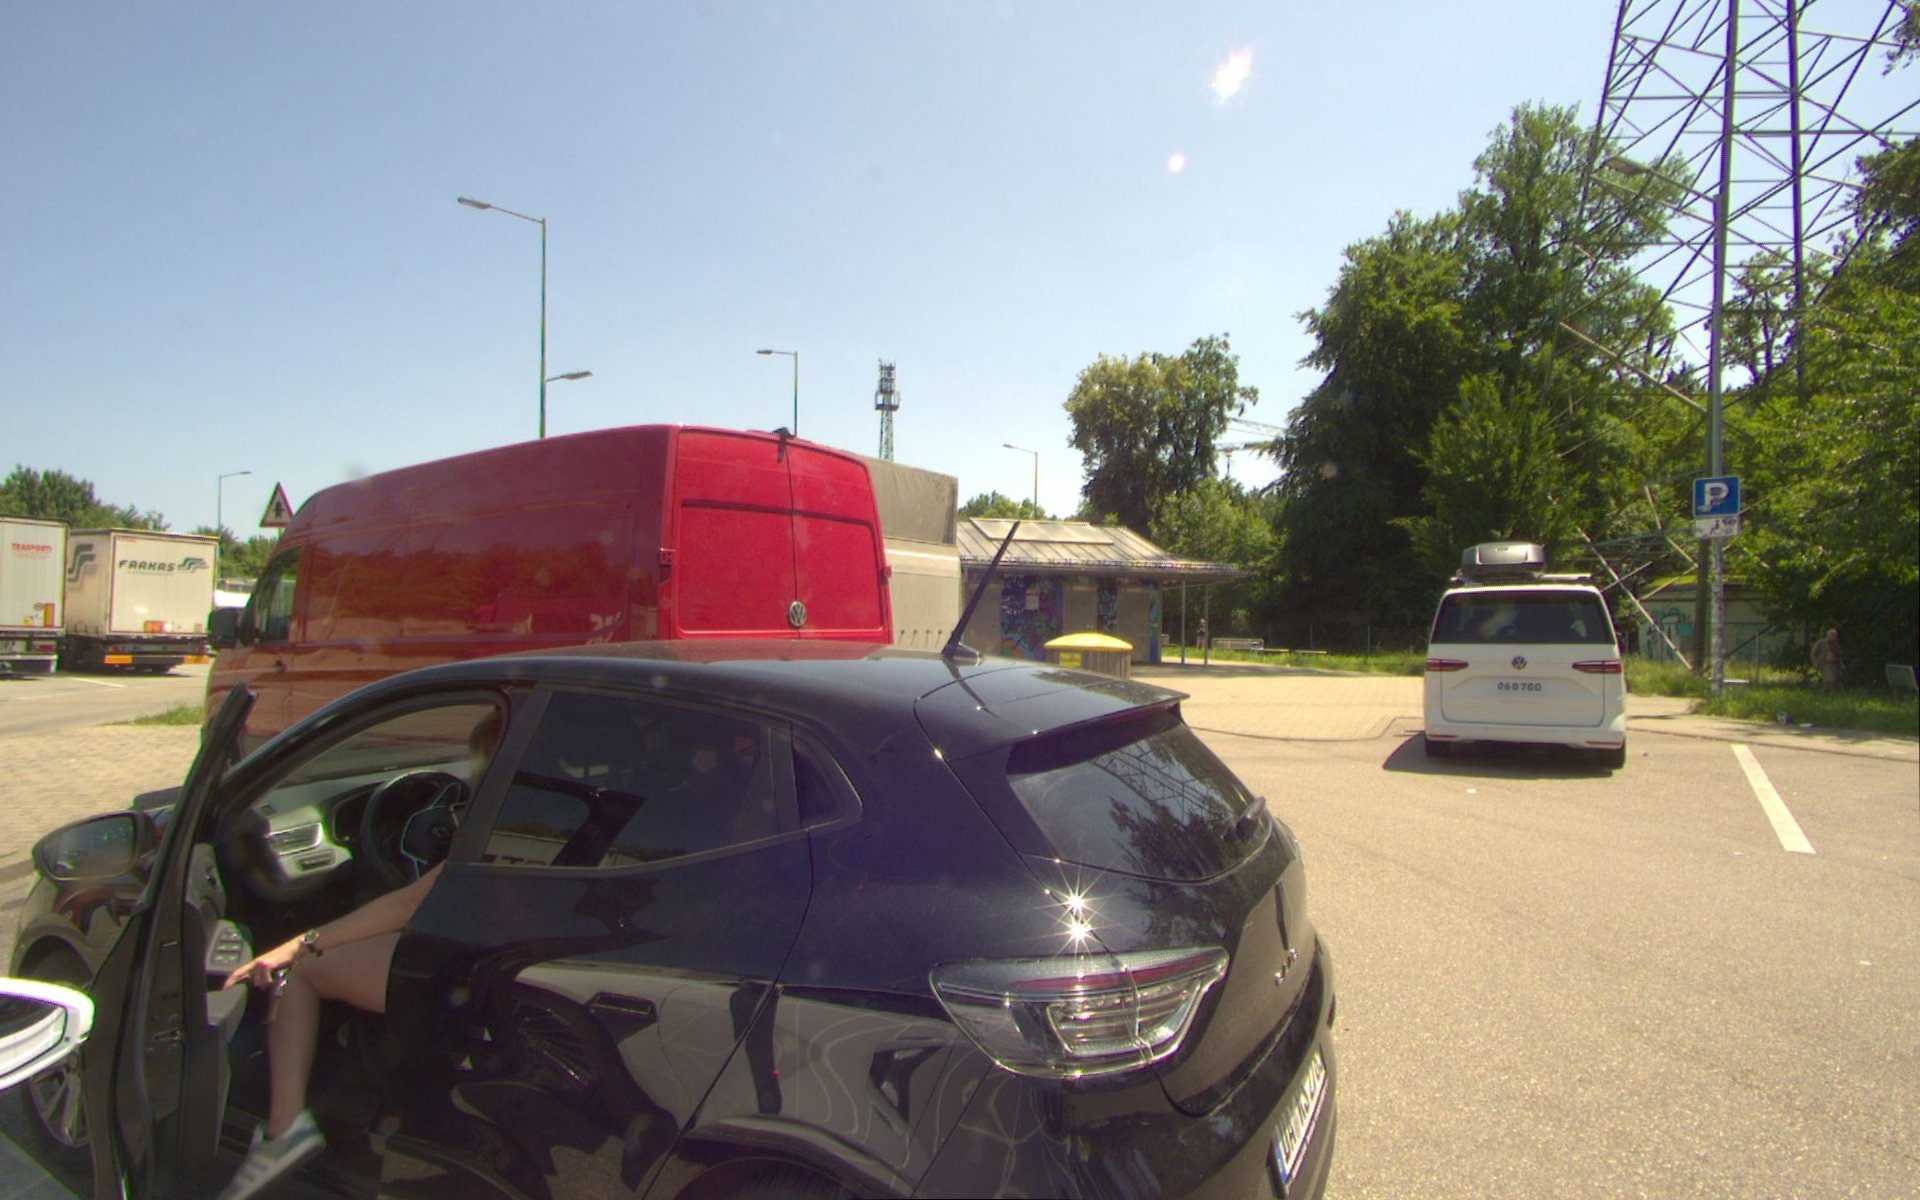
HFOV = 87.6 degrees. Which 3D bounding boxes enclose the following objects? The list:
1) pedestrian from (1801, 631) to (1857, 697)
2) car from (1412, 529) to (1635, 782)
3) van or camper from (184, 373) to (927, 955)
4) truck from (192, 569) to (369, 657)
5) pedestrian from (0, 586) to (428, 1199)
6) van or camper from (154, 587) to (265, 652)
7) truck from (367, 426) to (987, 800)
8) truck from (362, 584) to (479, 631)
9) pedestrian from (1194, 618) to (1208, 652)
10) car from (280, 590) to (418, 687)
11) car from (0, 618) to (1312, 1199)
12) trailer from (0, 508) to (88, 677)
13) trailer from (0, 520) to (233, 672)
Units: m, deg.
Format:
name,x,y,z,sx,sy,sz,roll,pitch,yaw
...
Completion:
name,x,y,z,sx,sy,sz,roll,pitch,yaw
pedestrian,18.868,1.373,21.756,0.695,1.392,0.607,1,0,12
car,6.535,0.563,11.549,1.892,2.354,4.074,-1,-1,32
van or camper,-3.370,0.321,7.343,6.394,2.688,1.990,0,-1,36
truck,-31.699,0.502,46.465,11.255,3.615,2.484,2,-1,33
pedestrian,-1.624,0.788,2.203,0.643,1.606,0.648,1,0,-15
van or camper,-31.701,0.816,42.239,5.296,2.595,2.100,0,-1,34
truck,-3.266,0.130,10.549,6.874,2.828,2.460,0,-1,35
truck,-34.729,0.460,64.267,9.637,2.857,2.121,0,-1,33
pedestrian,10.988,1.607,45.679,0.581,1.536,0.588,1,0,10
car,-15.460,0.909,25.194,1.980,2.178,5.262,1,-1,-43
car,-1.064,0.833,2.835,3.706,1.503,1.615,0,-1,27
trailer,-28.360,-0.331,27.788,12.255,4.090,2.862,2,-1,33
trailer,-27.300,-0.202,31.453,12.255,4.090,2.862,2,-1,33
